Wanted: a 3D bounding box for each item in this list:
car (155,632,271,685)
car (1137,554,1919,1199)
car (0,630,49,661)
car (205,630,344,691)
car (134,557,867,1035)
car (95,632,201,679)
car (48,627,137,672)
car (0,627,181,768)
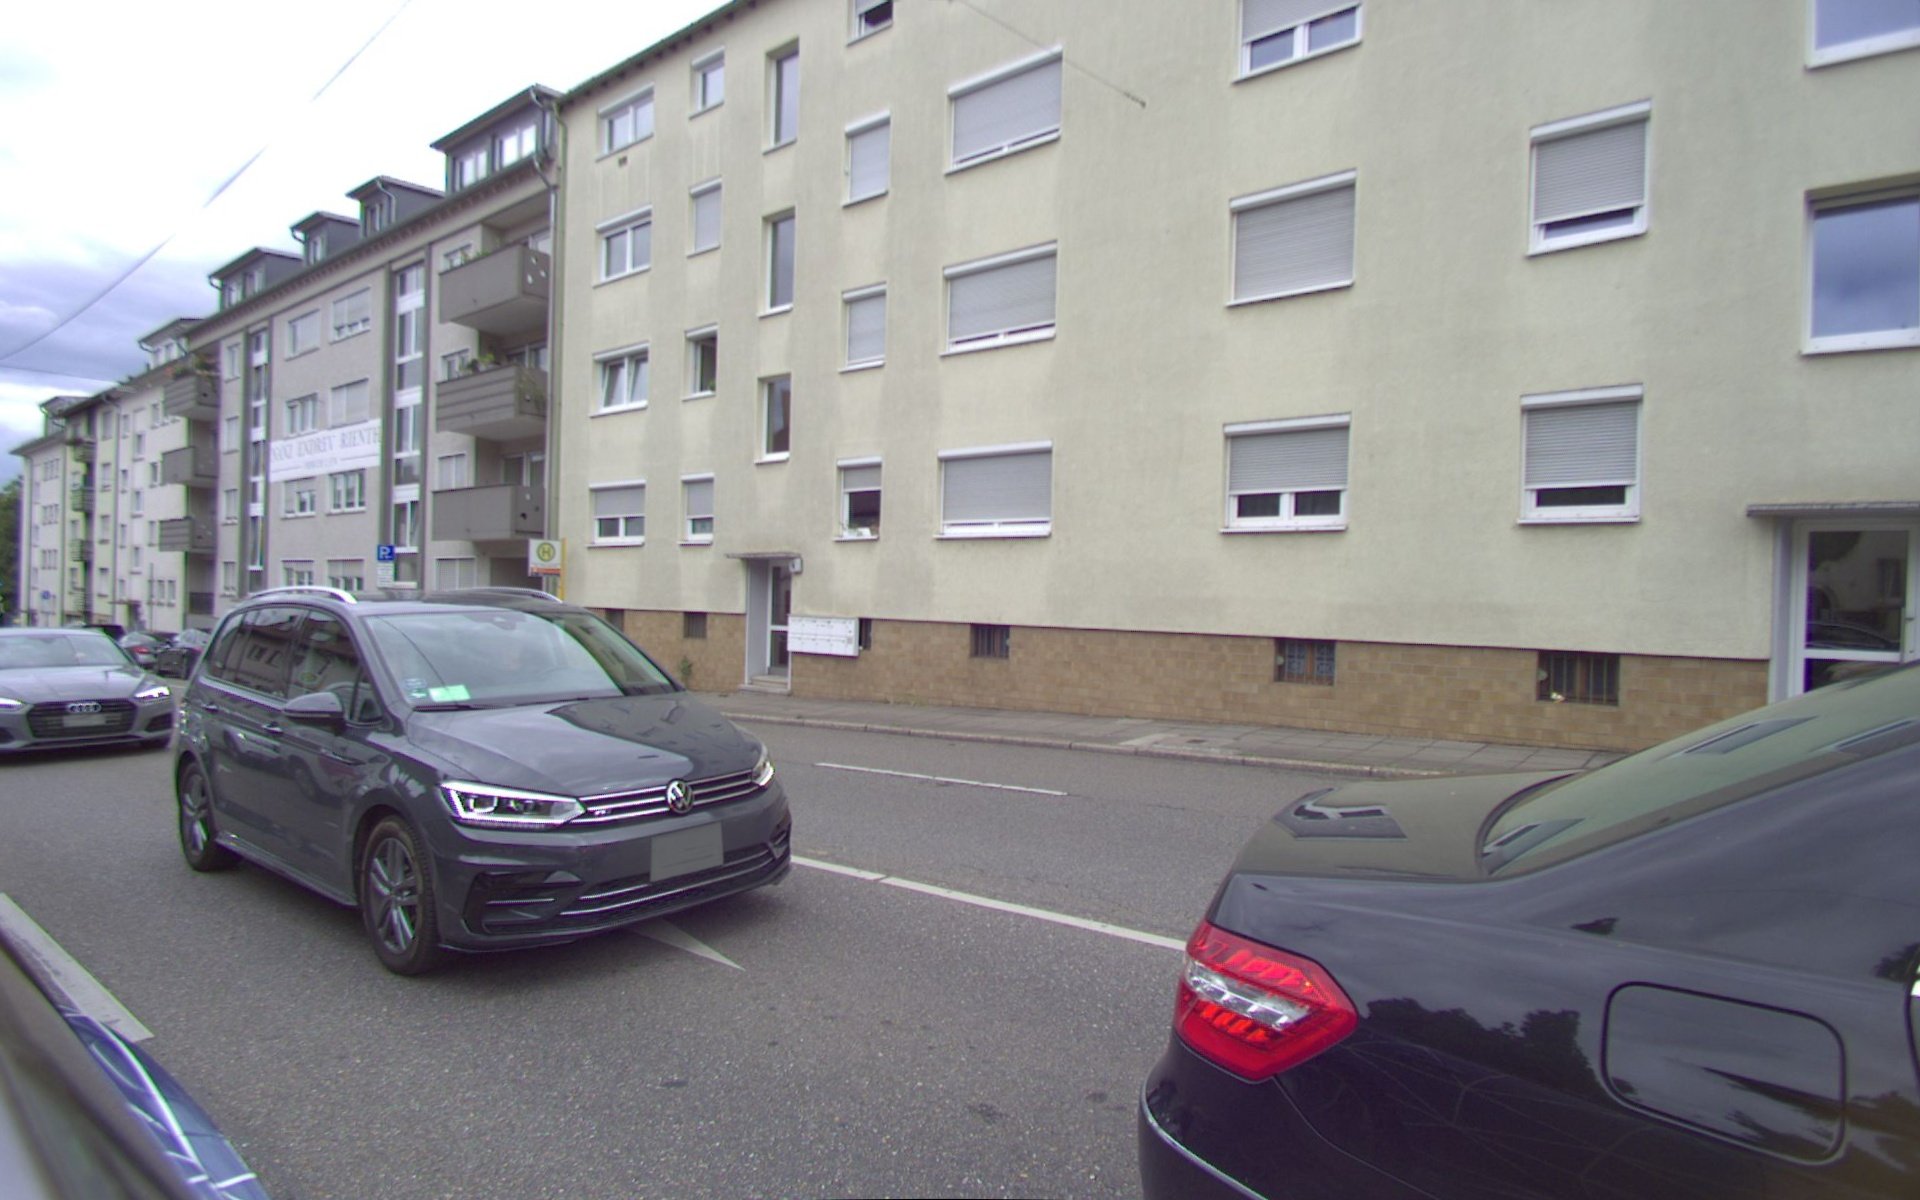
[{"bbox_3d":[-21.441,1.645,29.005,3.533,1.386,1.649,-1,-3,36],"label":"car"},{"bbox_3d":[2.733,0.647,0.669,4.840,1.439,1.973,-2,-1,41],"label":"car"},{"bbox_3d":[-46.165,2.210,49.414,3.752,1.414,1.755,-1,-3,36],"label":"car"},{"bbox_3d":[-17.578,1.510,25.918,3.680,1.422,1.755,-1,-3,36],"label":"car"},{"bbox_3d":[-2.768,0.681,5.563,4.474,1.623,1.840,-1,0,38],"label":"car"},{"bbox_3d":[-26.229,1.757,32.669,3.533,1.414,1.755,-1,-3,36],"label":"car"},{"bbox_3d":[-33.129,1.876,38.646,3.533,1.613,1.755,-1,-3,36],"label":"car"},{"bbox_3d":[-10.724,1.012,11.637,4.141,1.365,1.859,-2,-2,38],"label":"car"}]
